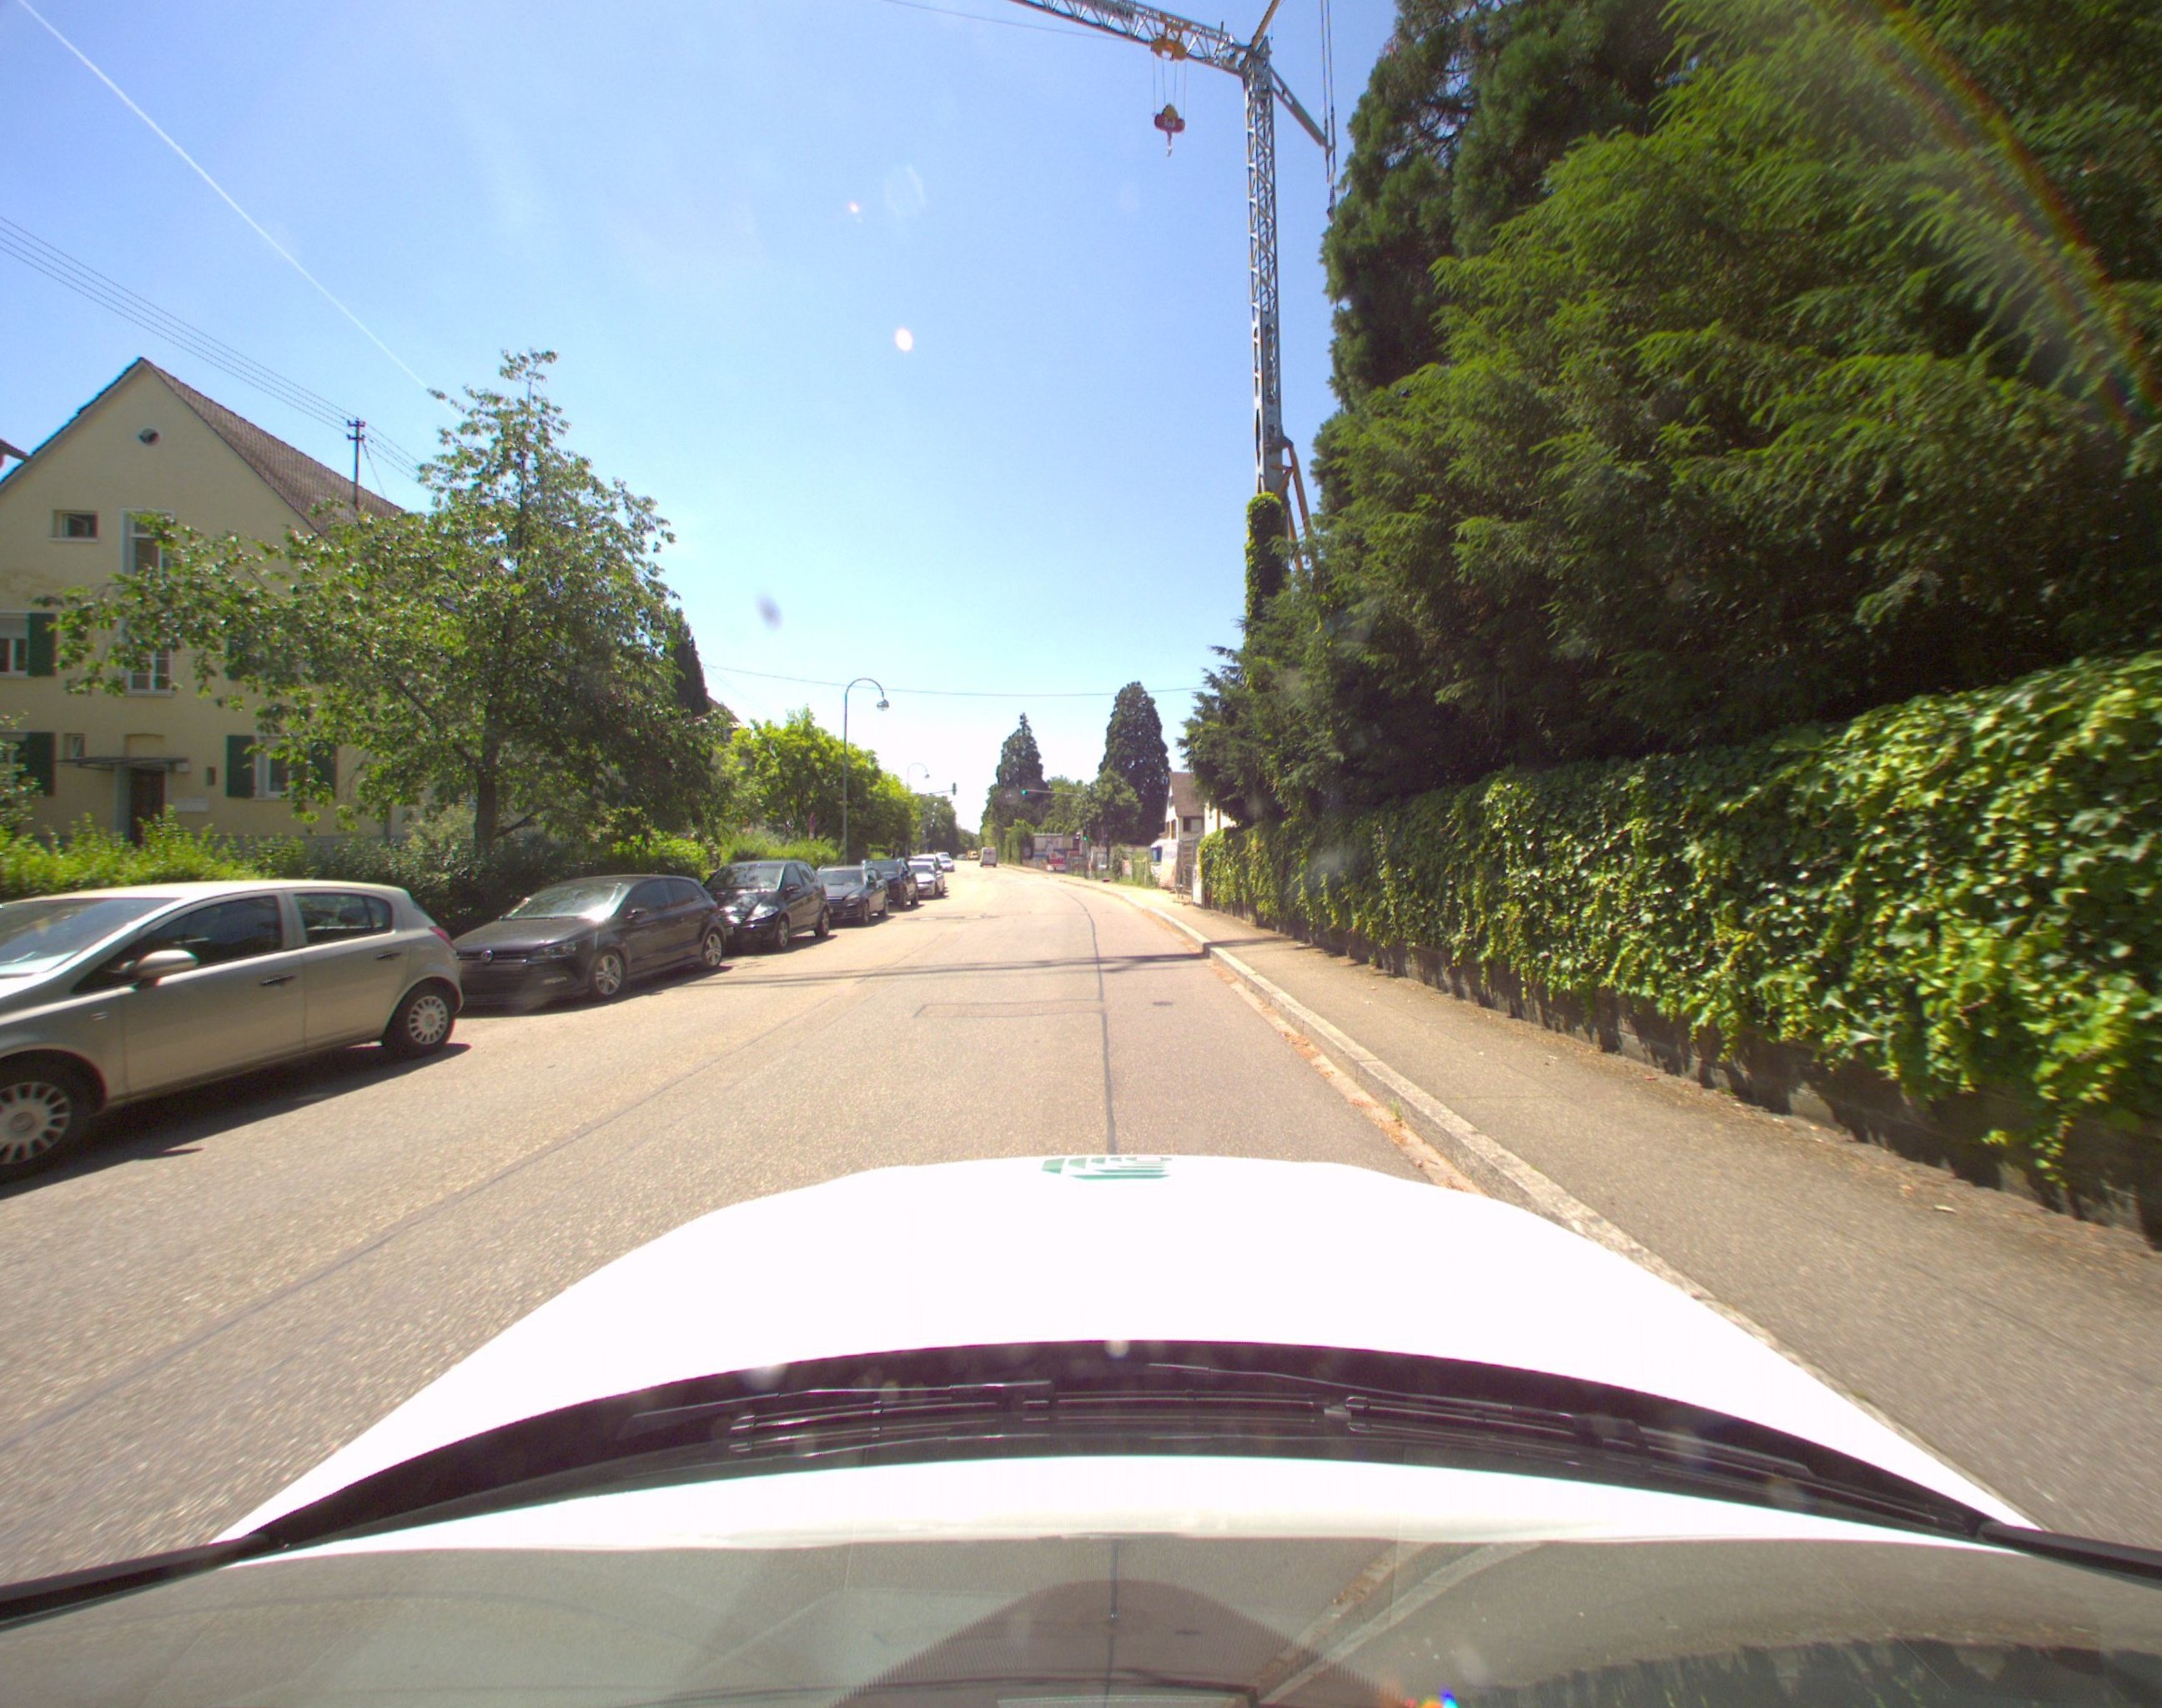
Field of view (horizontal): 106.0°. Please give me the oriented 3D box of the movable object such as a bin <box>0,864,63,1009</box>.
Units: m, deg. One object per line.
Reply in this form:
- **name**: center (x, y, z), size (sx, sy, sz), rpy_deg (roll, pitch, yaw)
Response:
- **movable object such as a bin**: center (-9.571, 0.697, 6.609), size (1.296, 1.199, 0.968), rpy_deg (-1, 0, -16)

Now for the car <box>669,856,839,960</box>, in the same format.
- **car**: center (-5.928, 0.892, 15.254), size (1.676, 1.639, 3.787), rpy_deg (-2, 0, -1)

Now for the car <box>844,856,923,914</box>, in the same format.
- **car**: center (-6.208, 0.916, 26.066), size (1.678, 1.637, 4.324), rpy_deg (-2, 0, -4)

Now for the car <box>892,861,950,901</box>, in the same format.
- **car**: center (-6.332, 1.025, 32.603), size (1.678, 1.441, 4.241), rpy_deg (-2, 0, -4)

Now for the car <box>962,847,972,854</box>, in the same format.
- **car**: center (-25.197, -0.772, 179.830), size (1.994, 1.662, 3.985), rpy_deg (0, 0, -11)

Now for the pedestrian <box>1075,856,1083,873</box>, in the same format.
- **pedestrian**: center (-0.214, 0.996, 79.502), size (0.695, 1.600, 0.571), rpy_deg (1, -1, -10)

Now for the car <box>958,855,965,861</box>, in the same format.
- **car**: center (-35.874, 1.153, 243.903), size (1.994, 1.662, 3.985), rpy_deg (0, 0, -11)

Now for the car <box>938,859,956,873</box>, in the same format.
- **car**: center (-15.030, 1.316, 91.188), size (1.795, 1.402, 4.202), rpy_deg (-1, 0, -11)

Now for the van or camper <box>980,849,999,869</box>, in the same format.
- **van or camper**: center (-12.100, 0.609, 107.555), size (2.261, 2.528, 4.746), rpy_deg (-1, 0, -8)

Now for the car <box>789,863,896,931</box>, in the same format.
- **car**: center (-5.921, 0.995, 20.704), size (1.678, 1.476, 4.324), rpy_deg (-2, 0, -4)

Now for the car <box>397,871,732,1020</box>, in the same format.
- **car**: center (-6.097, 0.975, 10.220), size (1.675, 1.401, 3.791), rpy_deg (-2, 0, 1)

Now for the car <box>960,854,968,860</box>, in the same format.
- **car**: center (-32.991, 0.728, 228.957), size (1.994, 1.662, 3.985), rpy_deg (0, 0, -11)

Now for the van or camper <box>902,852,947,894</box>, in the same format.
- **van or camper**: center (-7.348, 0.868, 38.544), size (1.679, 1.804, 3.977), rpy_deg (-2, 0, -6)

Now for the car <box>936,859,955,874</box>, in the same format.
- **car**: center (-14.364, 1.323, 86.210), size (1.760, 1.447, 3.909), rpy_deg (-1, 0, -11)

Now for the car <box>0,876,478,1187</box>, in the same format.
- **car**: center (-6.138, 0.933, 5.107), size (1.790, 1.442, 3.786), rpy_deg (-2, 0, 1)

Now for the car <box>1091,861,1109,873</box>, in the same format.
- **car**: center (2.001, 1.356, 85.055), size (1.704, 1.270, 3.388), rpy_deg (1, 0, 3)
